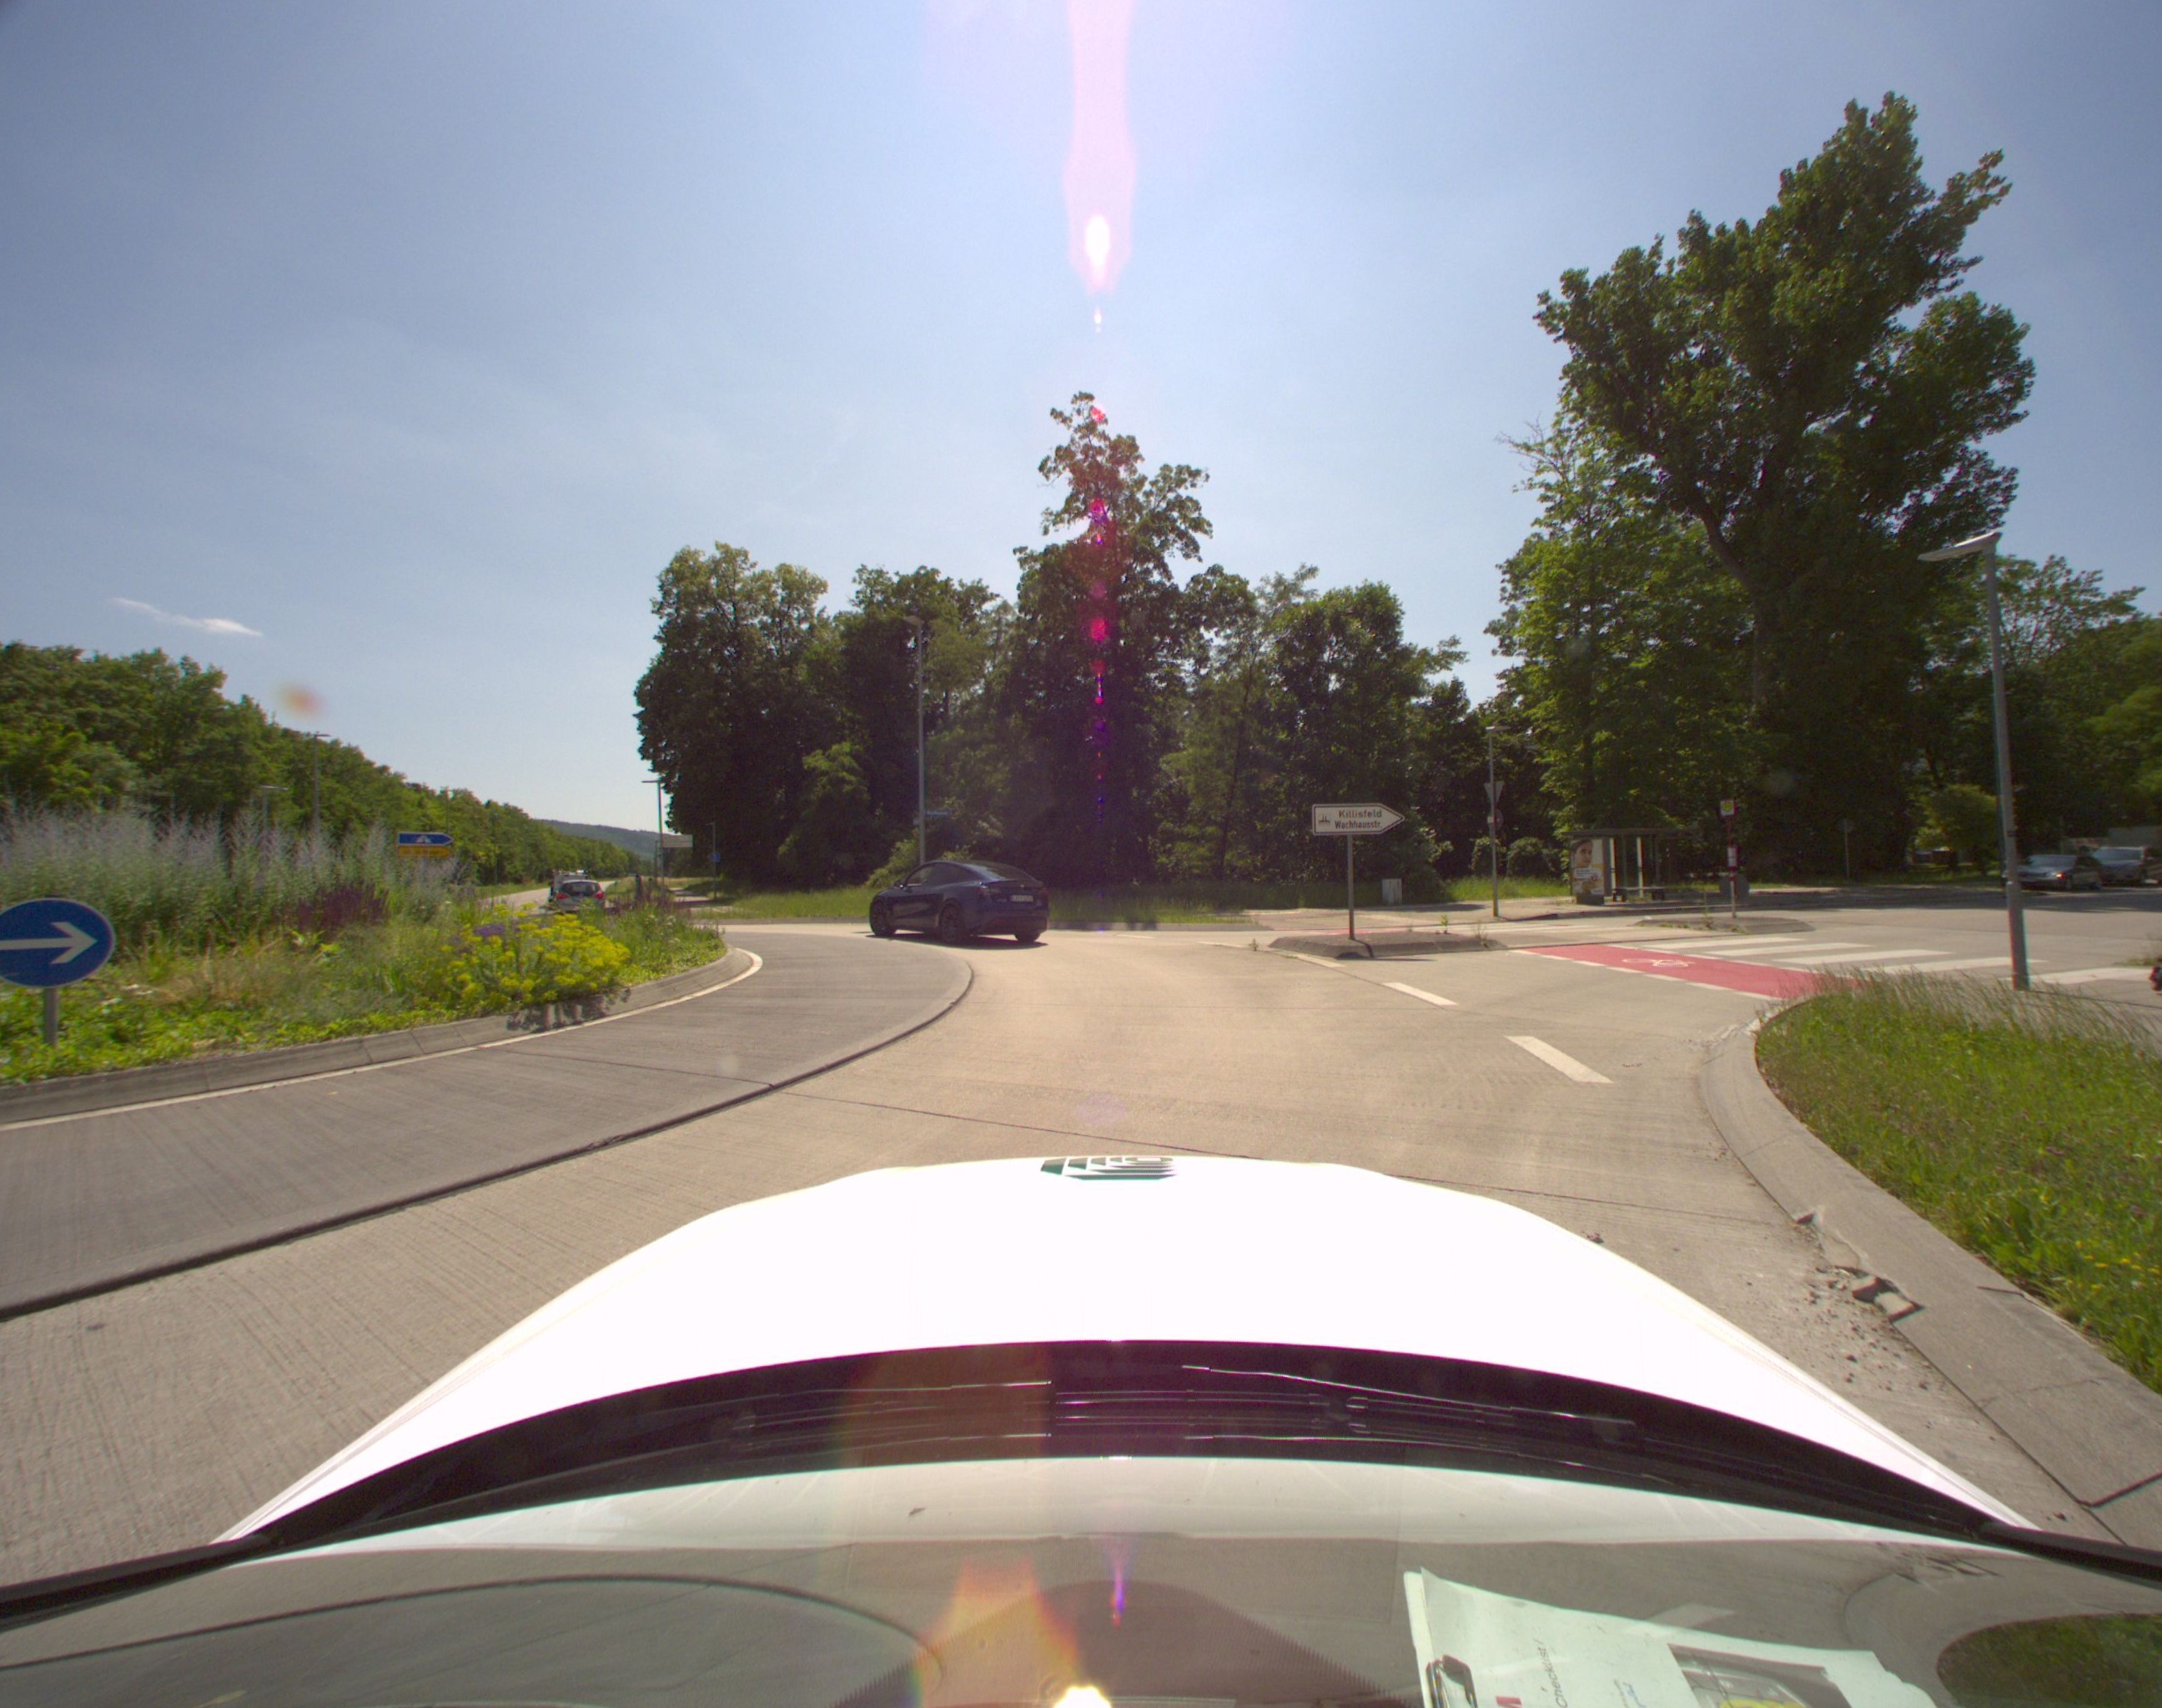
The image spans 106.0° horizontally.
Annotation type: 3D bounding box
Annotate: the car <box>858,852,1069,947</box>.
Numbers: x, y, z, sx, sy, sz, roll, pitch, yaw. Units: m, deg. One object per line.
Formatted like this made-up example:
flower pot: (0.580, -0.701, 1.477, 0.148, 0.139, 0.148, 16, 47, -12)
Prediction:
car: (-2.528, 0.841, 16.516, 2.010, 1.640, 4.701, 0, -1, -41)

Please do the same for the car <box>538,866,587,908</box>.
car: (-30.467, 1.910, 47.787, 2.182, 2.316, 4.926, 1, -2, -35)

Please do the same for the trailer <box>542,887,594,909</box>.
trailer: (-28.031, 2.389, 44.457, 2.138, 1.097, 3.317, 1, -2, -37)

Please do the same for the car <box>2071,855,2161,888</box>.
car: (44.269, 0.742, 34.451, 4.004, 1.310, 1.984, 0, -2, -23)

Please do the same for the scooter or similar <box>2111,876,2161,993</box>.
scooter or similar: (11.344, 0.816, 8.076, 0.445, 1.202, 1.399, -1, -2, 1)

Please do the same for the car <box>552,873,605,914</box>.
car: (-21.188, 1.630, 34.288, 1.797, 1.607, 4.084, 0, -2, -33)

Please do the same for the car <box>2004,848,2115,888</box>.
car: (38.583, 0.504, 32.104, 4.003, 1.486, 1.691, 0, 1, -23)
